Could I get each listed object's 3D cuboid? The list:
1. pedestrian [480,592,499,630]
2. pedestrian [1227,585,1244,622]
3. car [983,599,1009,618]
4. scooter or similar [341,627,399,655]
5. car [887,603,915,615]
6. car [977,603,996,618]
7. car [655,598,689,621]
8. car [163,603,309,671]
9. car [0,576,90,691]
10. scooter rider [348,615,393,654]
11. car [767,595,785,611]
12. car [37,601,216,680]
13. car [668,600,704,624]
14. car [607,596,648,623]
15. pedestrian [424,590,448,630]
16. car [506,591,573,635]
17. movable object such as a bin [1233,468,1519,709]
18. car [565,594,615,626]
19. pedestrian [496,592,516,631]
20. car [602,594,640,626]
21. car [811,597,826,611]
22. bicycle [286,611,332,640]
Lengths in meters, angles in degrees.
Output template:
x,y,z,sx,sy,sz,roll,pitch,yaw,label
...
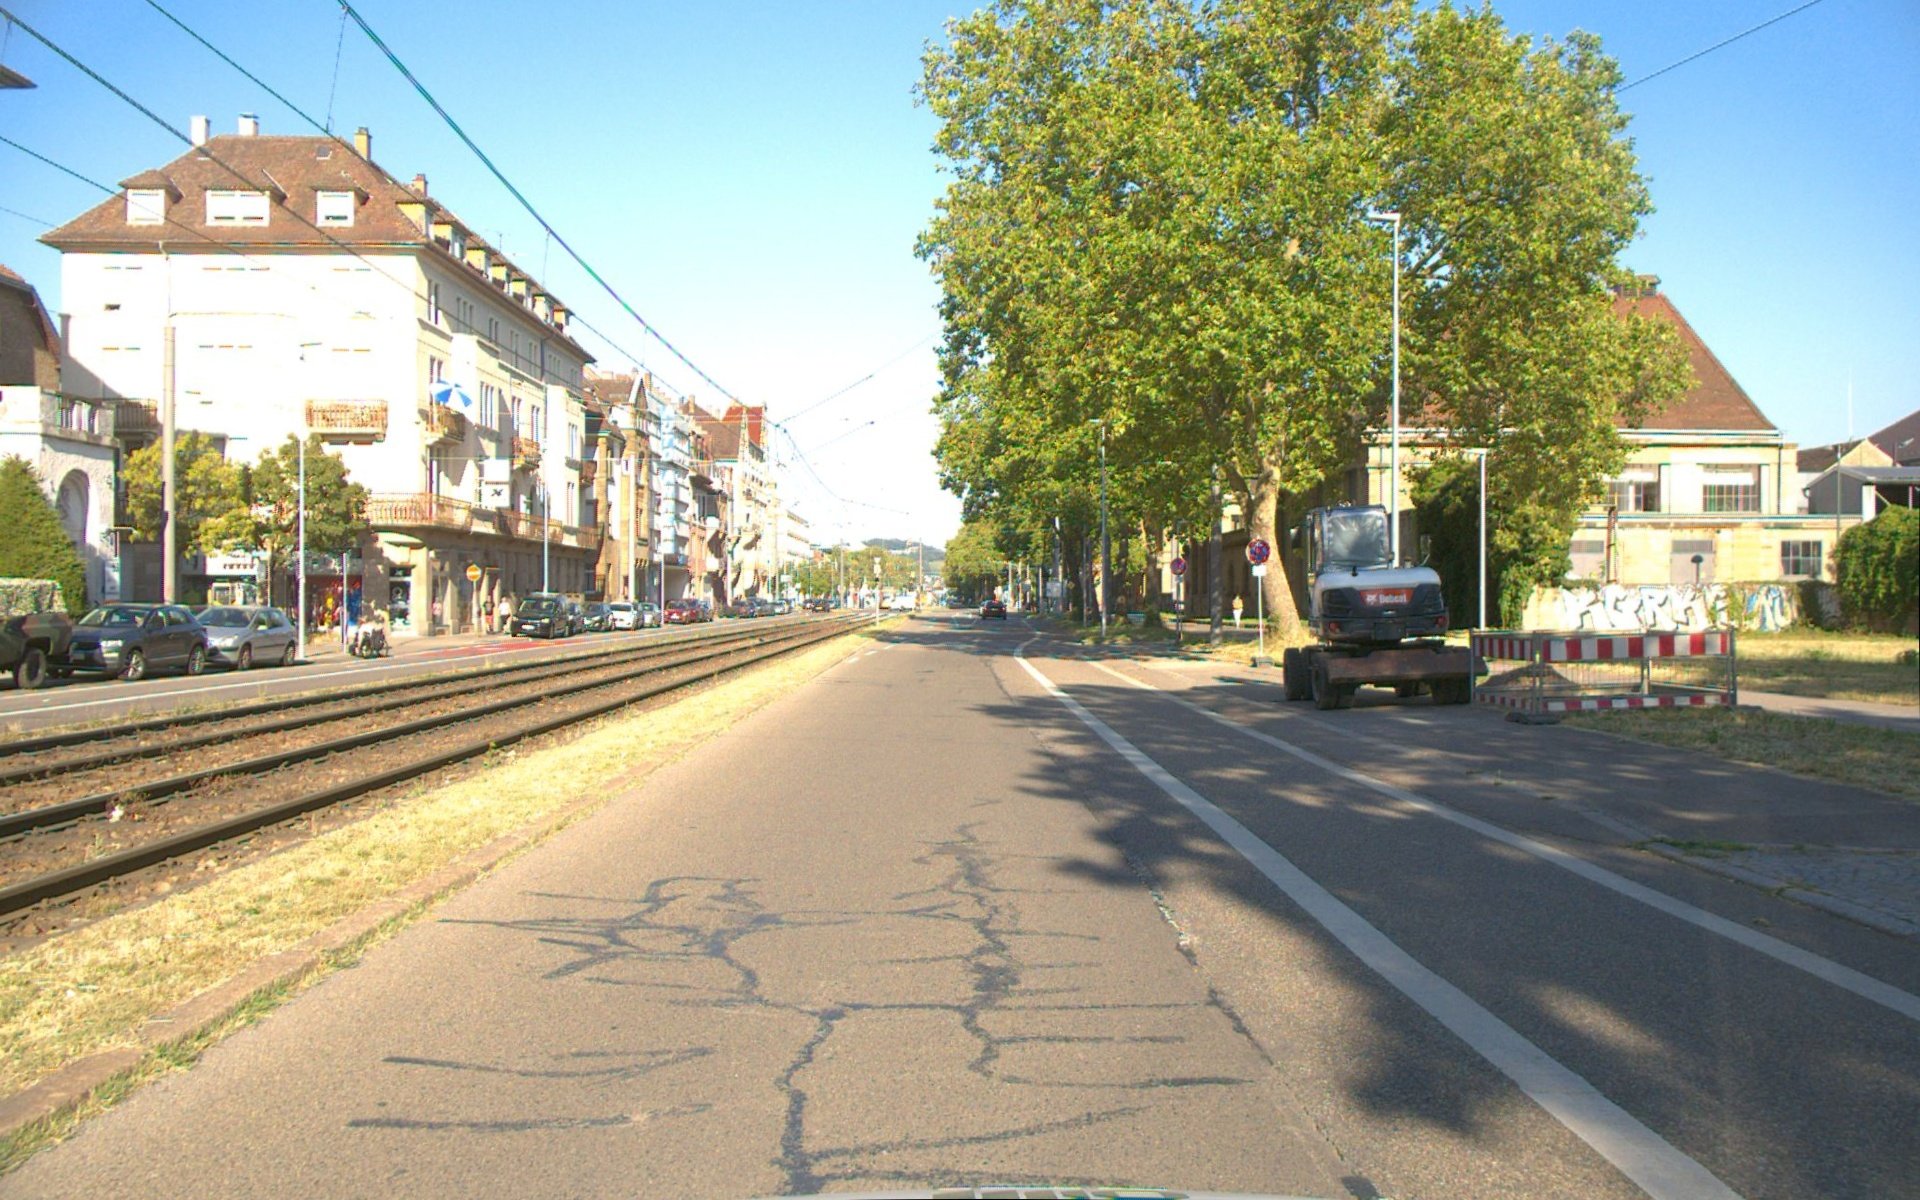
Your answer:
x,y,z,sx,sy,sz,roll,pitch,yaw,label
-21.392,0.495,75.200,0.577,1.726,0.857,2,-1,1,pedestrian
13.267,0.159,79.625,0.596,1.711,0.636,-4,0,-3,pedestrian
2.740,0.674,126.823,1.796,1.415,4.158,0,0,-1,car
-17.226,1.197,48.257,1.535,0.784,0.806,-1,0,31,scooter or similar
-7.822,1.153,219.445,1.779,1.537,3.951,2,-1,-35,car
2.692,1.058,169.578,1.796,1.415,4.158,0,0,-1,car
-19.108,0.639,109.897,1.798,1.415,4.031,3,0,-5,car
-17.834,0.881,40.927,1.757,1.537,4.000,2,0,1,car
-18.110,0.571,29.540,2.034,2.045,5.592,2,0,1,car
-17.192,1.002,48.238,0.958,1.108,0.806,-1,0,31,scooter rider
-19.688,0.307,177.407,1.759,1.536,3.996,3,0,-5,car
-17.703,0.841,35.369,1.601,1.534,4.159,1,-1,1,car
-19.131,0.833,115.647,1.796,1.585,4.353,1,0,0,car
-19.717,0.560,98.169,1.602,1.494,4.159,1,1,0,car
-22.743,0.423,71.788,0.626,1.690,0.955,2,-1,1,pedestrian
-18.354,0.537,72.369,1.825,1.817,4.400,2,1,-2,car
6.388,-0.186,26.640,2.688,3.200,7.219,-3,0,0,movable object such as a bin
-18.718,0.475,83.839,1.602,1.494,4.158,3,0,-1,car
-20.649,0.518,75.210,0.577,1.726,0.857,2,-1,1,pedestrian
-18.258,0.551,89.162,1.604,1.495,3.977,2,-3,-6,car
-17.192,0.435,201.602,1.602,1.629,4.157,-1,0,-3,car
-24.194,0.939,61.501,0.670,1.033,2.413,2,0,2,bicycle
